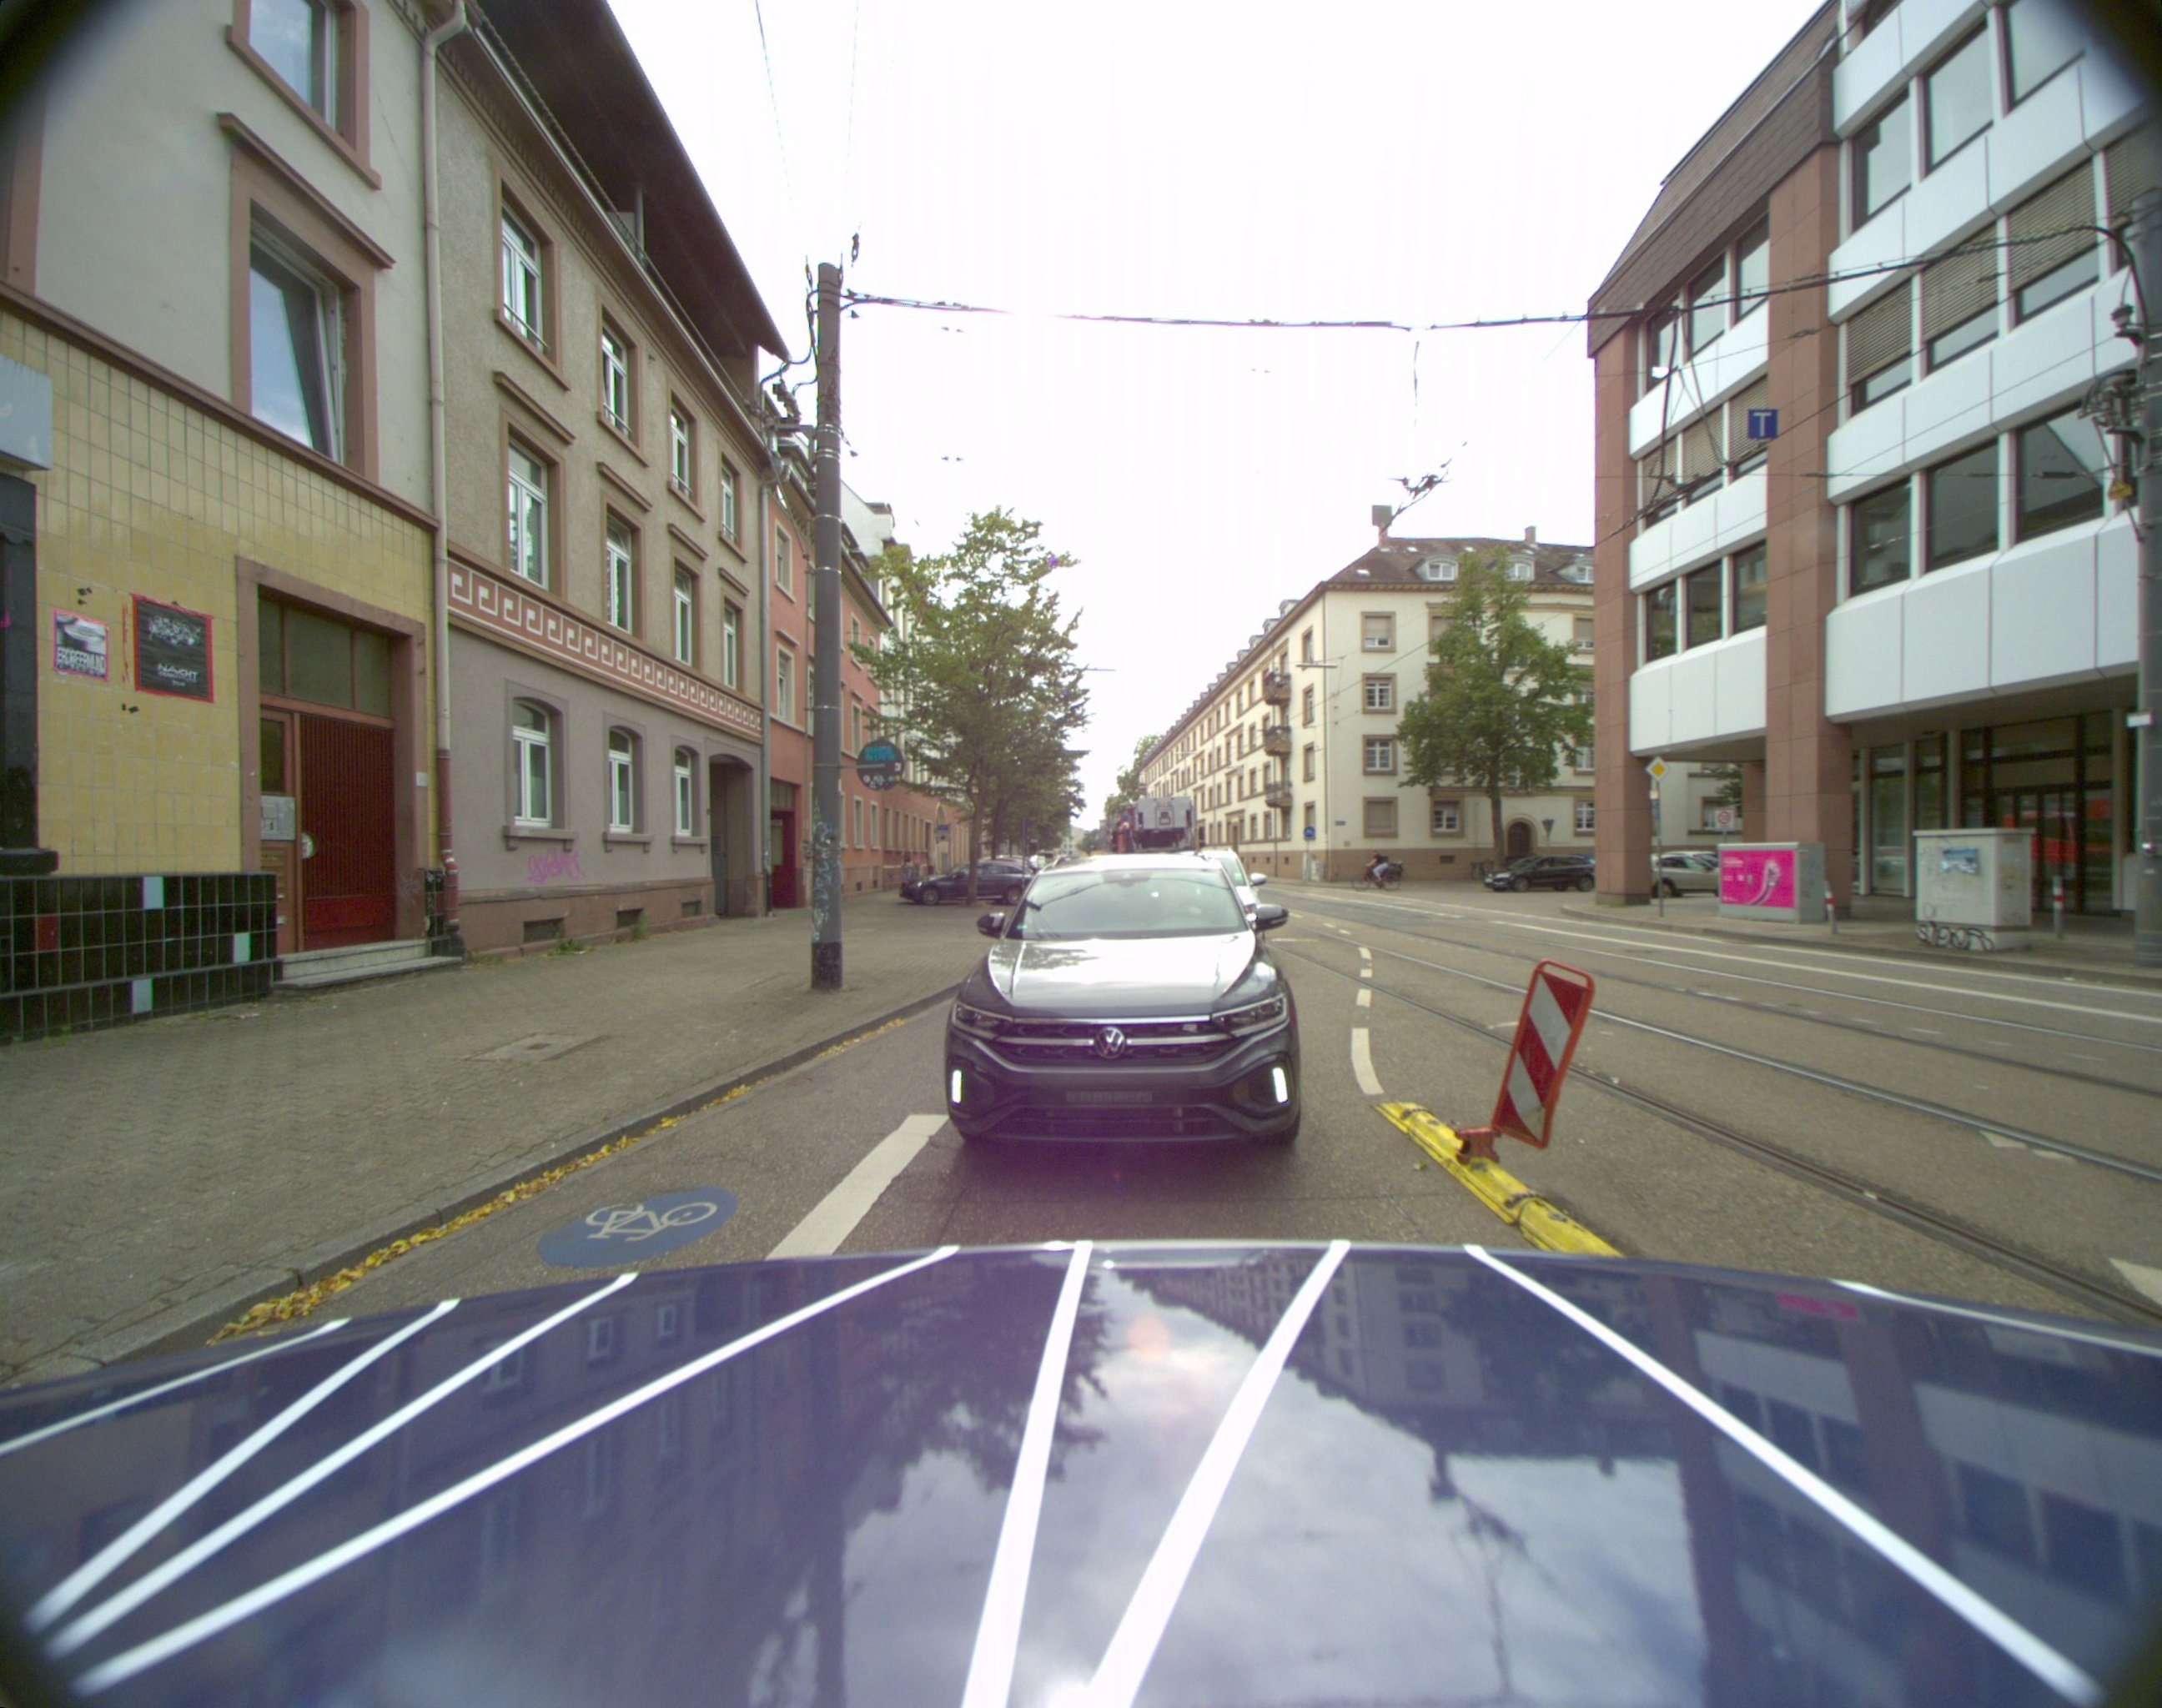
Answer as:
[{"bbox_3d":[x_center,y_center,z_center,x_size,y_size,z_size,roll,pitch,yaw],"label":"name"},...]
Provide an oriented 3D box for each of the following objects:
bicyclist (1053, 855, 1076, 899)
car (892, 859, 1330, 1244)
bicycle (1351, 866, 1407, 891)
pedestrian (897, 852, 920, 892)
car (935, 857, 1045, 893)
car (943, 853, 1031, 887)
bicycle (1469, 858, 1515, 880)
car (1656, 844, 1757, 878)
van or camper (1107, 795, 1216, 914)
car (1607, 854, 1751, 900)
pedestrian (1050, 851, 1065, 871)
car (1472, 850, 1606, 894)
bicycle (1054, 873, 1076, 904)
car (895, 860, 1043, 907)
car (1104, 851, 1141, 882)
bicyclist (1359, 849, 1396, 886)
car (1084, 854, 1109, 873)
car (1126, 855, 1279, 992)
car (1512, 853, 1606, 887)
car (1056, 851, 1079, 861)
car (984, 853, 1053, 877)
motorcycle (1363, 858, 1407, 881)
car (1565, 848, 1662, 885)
[{"bbox_3d":[-0.585,0.793,26.989,0.715,1.498,0.918,-3,0,-2],"label":"bicyclist"},{"bbox_3d":[0.279,0.857,5.304,1.773,1.538,4.283,-2,0,5],"label":"car"},{"bbox_3d":[11.952,0.991,30.551,2.009,0.959,0.674,-1,-1,12],"label":"bicycle"},{"bbox_3d":[-7.442,0.769,32.788,0.732,1.678,0.926,3,0,-1],"label":"pedestrian"},{"bbox_3d":[-3.925,0.908,32.838,4.351,1.471,1.786,1,0,-24],"label":"car"},{"bbox_3d":[-4.941,0.850,39.910,4.245,1.688,1.736,1,0,-24],"label":"car"},{"bbox_3d":[20.815,0.745,38.485,1.924,1.080,0.793,-1,0,-1],"label":"bicycle"},{"bbox_3d":[28.490,0.311,34.738,1.592,1.453,3.524,-1,0,-3],"label":"car"},{"bbox_3d":[2.495,0.019,26.818,2.607,3.401,9.651,-1,0,-1],"label":"van or camper"},{"bbox_3d":[19.186,0.696,24.452,3.650,1.380,1.611,-1,0,-9],"label":"car"},{"bbox_3d":[-2.230,0.673,72.783,1.016,1.831,1.003,0,1,40],"label":"pedestrian"},{"bbox_3d":[17.629,0.677,29.442,4.043,1.528,1.776,-2,0,9],"label":"car"},{"bbox_3d":[-0.573,1.201,27.048,0.714,1.012,1.800,-2,0,-2],"label":"bicycle"},{"bbox_3d":[-3.784,0.970,25.701,4.635,1.464,1.786,1,0,-24],"label":"car"},{"bbox_3d":[2.353,0.708,44.284,1.998,1.698,4.053,-1,0,1],"label":"car"},{"bbox_3d":[11.912,0.531,30.550,1.257,1.453,0.678,-1,0,12],"label":"bicyclist"},{"bbox_3d":[1.289,0.763,63.479,1.911,1.478,3.999,-1,0,-2],"label":"car"},{"bbox_3d":[1.669,0.853,11.337,1.772,1.582,4.284,-2,0,5],"label":"car"},{"bbox_3d":[21.164,0.668,33.828,1.611,1.388,3.874,-1,0,-3],"label":"car"},{"bbox_3d":[-2.491,0.416,138.847,1.895,1.806,4.008,0,0,44],"label":"car"},{"bbox_3d":[-4.569,0.782,55.331,4.635,1.688,1.913,1,0,-24],"label":"car"},{"bbox_3d":[15.298,0.779,38.267,1.924,1.080,0.793,-1,0,-1],"label":"motorcycle"},{"bbox_3d":[23.564,0.534,33.792,1.611,1.538,3.715,-1,0,-3],"label":"car"}]
